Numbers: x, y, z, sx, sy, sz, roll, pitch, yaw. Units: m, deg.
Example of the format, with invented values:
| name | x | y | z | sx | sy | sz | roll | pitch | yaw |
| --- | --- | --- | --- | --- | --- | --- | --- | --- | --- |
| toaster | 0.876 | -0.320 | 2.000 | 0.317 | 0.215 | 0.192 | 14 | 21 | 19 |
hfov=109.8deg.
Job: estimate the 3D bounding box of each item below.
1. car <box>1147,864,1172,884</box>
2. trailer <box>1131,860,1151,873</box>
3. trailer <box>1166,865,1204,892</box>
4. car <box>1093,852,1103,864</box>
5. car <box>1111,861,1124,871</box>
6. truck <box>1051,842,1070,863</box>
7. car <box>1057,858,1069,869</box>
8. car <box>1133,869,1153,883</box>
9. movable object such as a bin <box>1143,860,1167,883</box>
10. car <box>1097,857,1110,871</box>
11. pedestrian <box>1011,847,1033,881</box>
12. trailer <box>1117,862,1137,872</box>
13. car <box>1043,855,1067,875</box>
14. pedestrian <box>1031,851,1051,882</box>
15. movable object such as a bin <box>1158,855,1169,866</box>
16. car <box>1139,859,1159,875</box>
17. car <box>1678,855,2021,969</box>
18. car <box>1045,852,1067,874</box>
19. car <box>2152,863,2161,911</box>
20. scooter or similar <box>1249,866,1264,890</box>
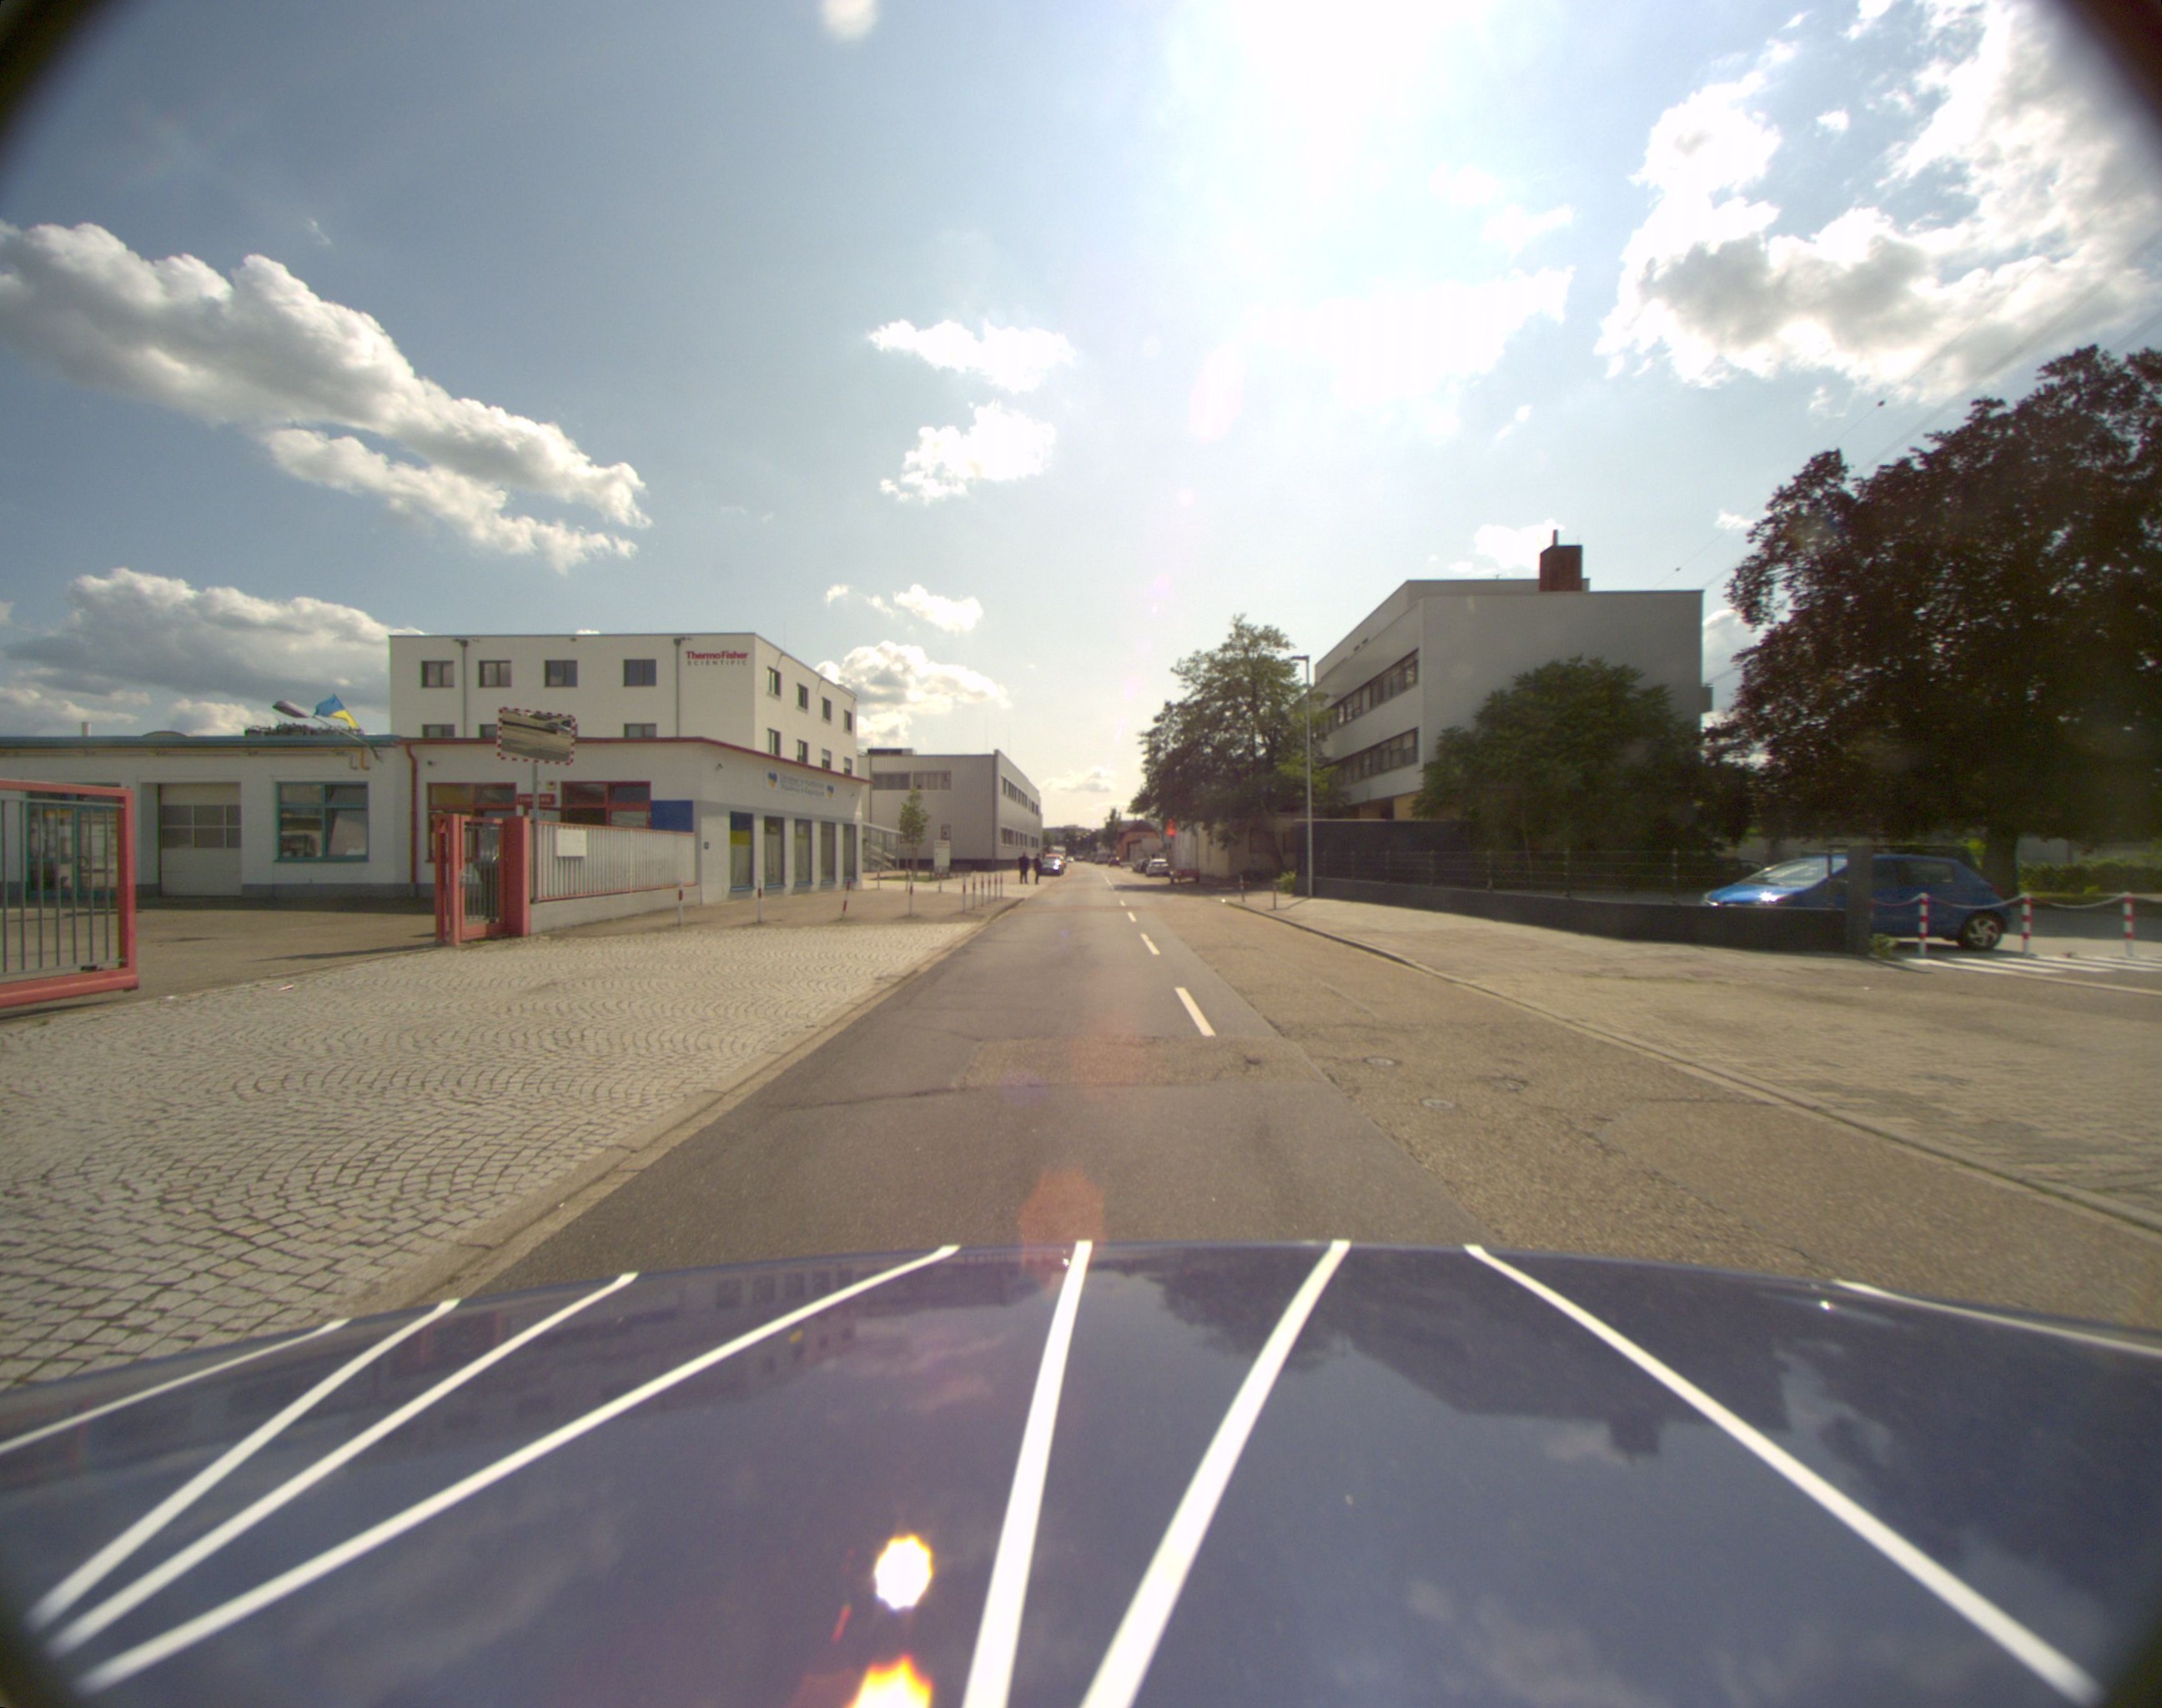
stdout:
| name | x | y | z | sx | sy | sz | roll | pitch | yaw |
| --- | --- | --- | --- | --- | --- | --- | --- | --- | --- |
| car | 6.554 | 1.650 | 63.786 | 1.677 | 1.447 | 4.514 | -2 | 0 | 1 |
| trailer | 6.914 | 1.435 | 87.643 | 1.772 | 1.368 | 5.050 | -2 | 0 | -1 |
| trailer | 6.479 | 1.486 | 47.726 | 1.771 | 1.430 | 4.336 | -3 | 0 | 1 |
| car | 4.071 | 0.957 | 181.965 | 1.999 | 2.556 | 5.823 | -3 | 0 | -1 |
| car | 6.007 | 2.004 | 125.214 | 1.714 | 1.459 | 4.629 | -3 | 0 | 0 |
| truck | -3.430 | -0.172 | 124.617 | 2.608 | 3.207 | 8.074 | -3 | 0 | -4 |
| car | -2.627 | 1.326 | 110.054 | 1.715 | 1.502 | 4.114 | -3 | 0 | -1 |
| car | 6.684 | 2.373 | 82.033 | 1.677 | 1.368 | 3.884 | -2 | 0 | -1 |
| movable object such as a bin | 6.735 | 1.541 | 69.788 | 1.618 | 1.907 | 5.138 | -4 | 0 | 0 |
| car | 4.630 | 2.048 | 156.964 | 2.079 | 2.527 | 5.823 | -3 | 0 | -1 |
| pedestrian | -3.403 | 0.593 | 44.014 | 0.994 | 1.940 | 1.089 | 0 | 0 | -22 |
| trailer | 6.402 | 1.838 | 106.370 | 2.457 | 1.157 | 6.052 | -2 | 0 | 0 |
| car | -2.123 | 0.889 | 63.351 | 1.663 | 1.549 | 4.178 | -3 | 0 | 2 |
| pedestrian | -2.354 | 0.727 | 44.364 | 0.860 | 1.797 | 1.003 | 0 | 0 | -22 |
| movable object such as a bin | 10.808 | 0.814 | 99.548 | 1.319 | 1.419 | 1.151 | 0 | 0 | -4 |
| car | 6.840 | 1.288 | 76.851 | 1.677 | 1.447 | 4.223 | -2 | 0 | 0 |
| car | 12.294 | 0.877 | 12.372 | 3.657 | 1.698 | 1.879 | 0 | 0 | 0 |
| car | -2.254 | 0.796 | 69.532 | 1.877 | 1.881 | 4.452 | -4 | 0 | -1 |
| car | 33.579 | 0.981 | 21.248 | 4.290 | 1.400 | 1.831 | 1 | 0 | 6 |
| scooter or similar | 9.744 | 1.345 | 42.198 | 0.483 | 1.271 | 1.361 | -3 | 0 | 1 |
